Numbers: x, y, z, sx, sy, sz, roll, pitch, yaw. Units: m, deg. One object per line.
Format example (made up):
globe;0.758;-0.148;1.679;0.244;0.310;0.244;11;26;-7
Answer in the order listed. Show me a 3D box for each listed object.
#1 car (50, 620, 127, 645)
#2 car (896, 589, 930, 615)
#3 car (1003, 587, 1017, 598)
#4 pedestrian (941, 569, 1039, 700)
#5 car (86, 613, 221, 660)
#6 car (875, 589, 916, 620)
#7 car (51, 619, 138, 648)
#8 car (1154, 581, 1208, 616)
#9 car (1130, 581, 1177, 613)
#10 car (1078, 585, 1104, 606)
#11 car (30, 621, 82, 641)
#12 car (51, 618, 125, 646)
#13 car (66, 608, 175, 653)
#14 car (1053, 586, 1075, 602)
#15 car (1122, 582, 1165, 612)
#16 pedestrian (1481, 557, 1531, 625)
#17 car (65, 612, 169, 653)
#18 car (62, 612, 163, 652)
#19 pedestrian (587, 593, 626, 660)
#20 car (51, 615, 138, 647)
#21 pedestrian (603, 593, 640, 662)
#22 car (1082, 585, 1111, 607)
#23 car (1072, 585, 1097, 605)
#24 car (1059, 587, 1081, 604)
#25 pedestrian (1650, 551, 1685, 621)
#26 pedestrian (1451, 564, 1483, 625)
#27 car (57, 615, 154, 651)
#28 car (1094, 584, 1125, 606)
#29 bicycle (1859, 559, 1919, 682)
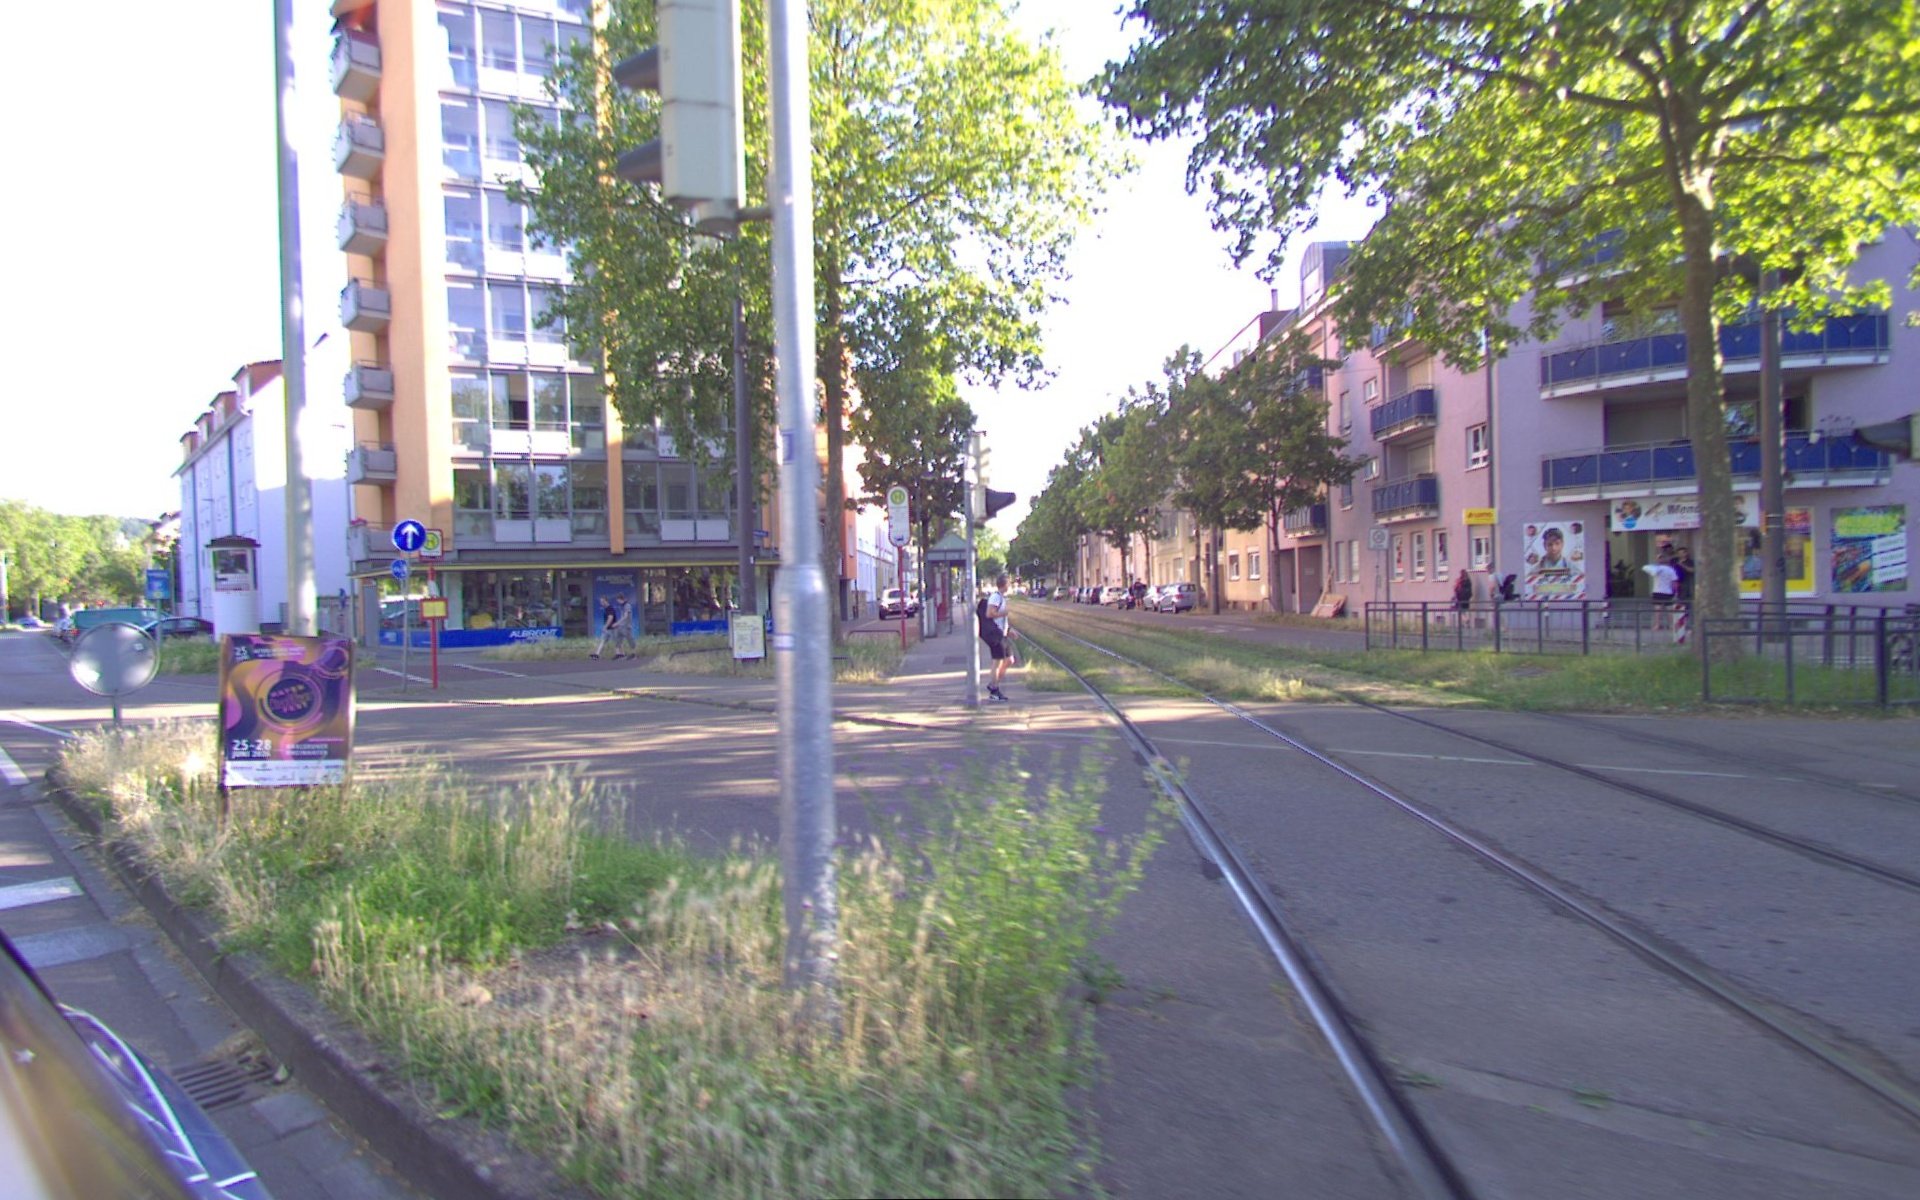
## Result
car;-63.736;2.349;74.102;4.196;1.585;1.869;-3;1;-41
car;-3.159;0.106;68.744;2.022;1.588;4.046;-2;1;0
car;7.747;-1.164;158.449;1.912;1.718;4.368;-2;1;0
pedestrian;0.425;0.456;14.047;1.081;1.750;0.896;-1;1;23
car;-34.022;1.491;42.850;4.359;1.674;2.004;-3;1;-37
car;-3.554;0.210;56.331;2.022;1.588;4.046;-2;1;0
car;-56.617;2.162;66.262;4.196;1.585;1.869;-3;1;-41
car;11.698;-0.123;53.800;1.912;1.718;4.111;-2;1;0
car;11.110;-0.198;58.392;1.912;1.718;3.825;-2;1;0
car;11.587;-0.422;89.751;1.773;1.718;4.167;-2;1;0
car;-81.896;2.782;91.740;3.487;1.585;1.869;-3;1;-41
car;-63.867;2.321;74.162;4.013;1.765;1.901;-3;1;-41
car;-40.639;1.436;49.054;3.939;1.962;2.002;-3;1;-42
car;11.782;-0.655;114.878;1.912;1.718;4.368;-2;1;0
car;11.374;-0.211;62.995;1.912;1.718;4.111;-2;1;0
pedestrian;13.920;-0.233;25.809;0.911;1.679;0.621;-2;1;-13
car;-42.437;1.607;51.004;3.938;1.829;2.003;-3;1;-41
car;-44.329;1.623;53.016;3.938;1.829;2.003;-3;1;-41
pedestrian;-9.572;0.720;27.414;0.803;1.763;0.538;-1;1;9
car;-54.735;1.938;64.057;4.058;1.785;1.759;-3;1;-41
pedestrian;-8.901;0.709;26.642;0.623;1.763;0.688;-1;1;9
car;11.361;-0.395;84.570;1.809;1.718;4.056;-2;1;0
car;11.677;-0.494;95.204;1.831;1.718;4.167;-2;1;0
car;11.812;-0.544;109.282;1.912;1.718;4.000;-2;1;0
pedestrian;17.351;-0.342;24.839;0.547;1.679;0.615;-1;1;22
pedestrian;14.165;-0.155;28.297;0.543;1.679;0.620;-2;1;1
car;-47.837;1.798;56.719;4.013;1.765;1.901;-3;1;-41
car;11.430;-0.402;77.454;1.743;1.588;4.046;-2;1;0
bicycle;10.566;0.213;11.048;0.380;1.316;1.832;-1;1;17
